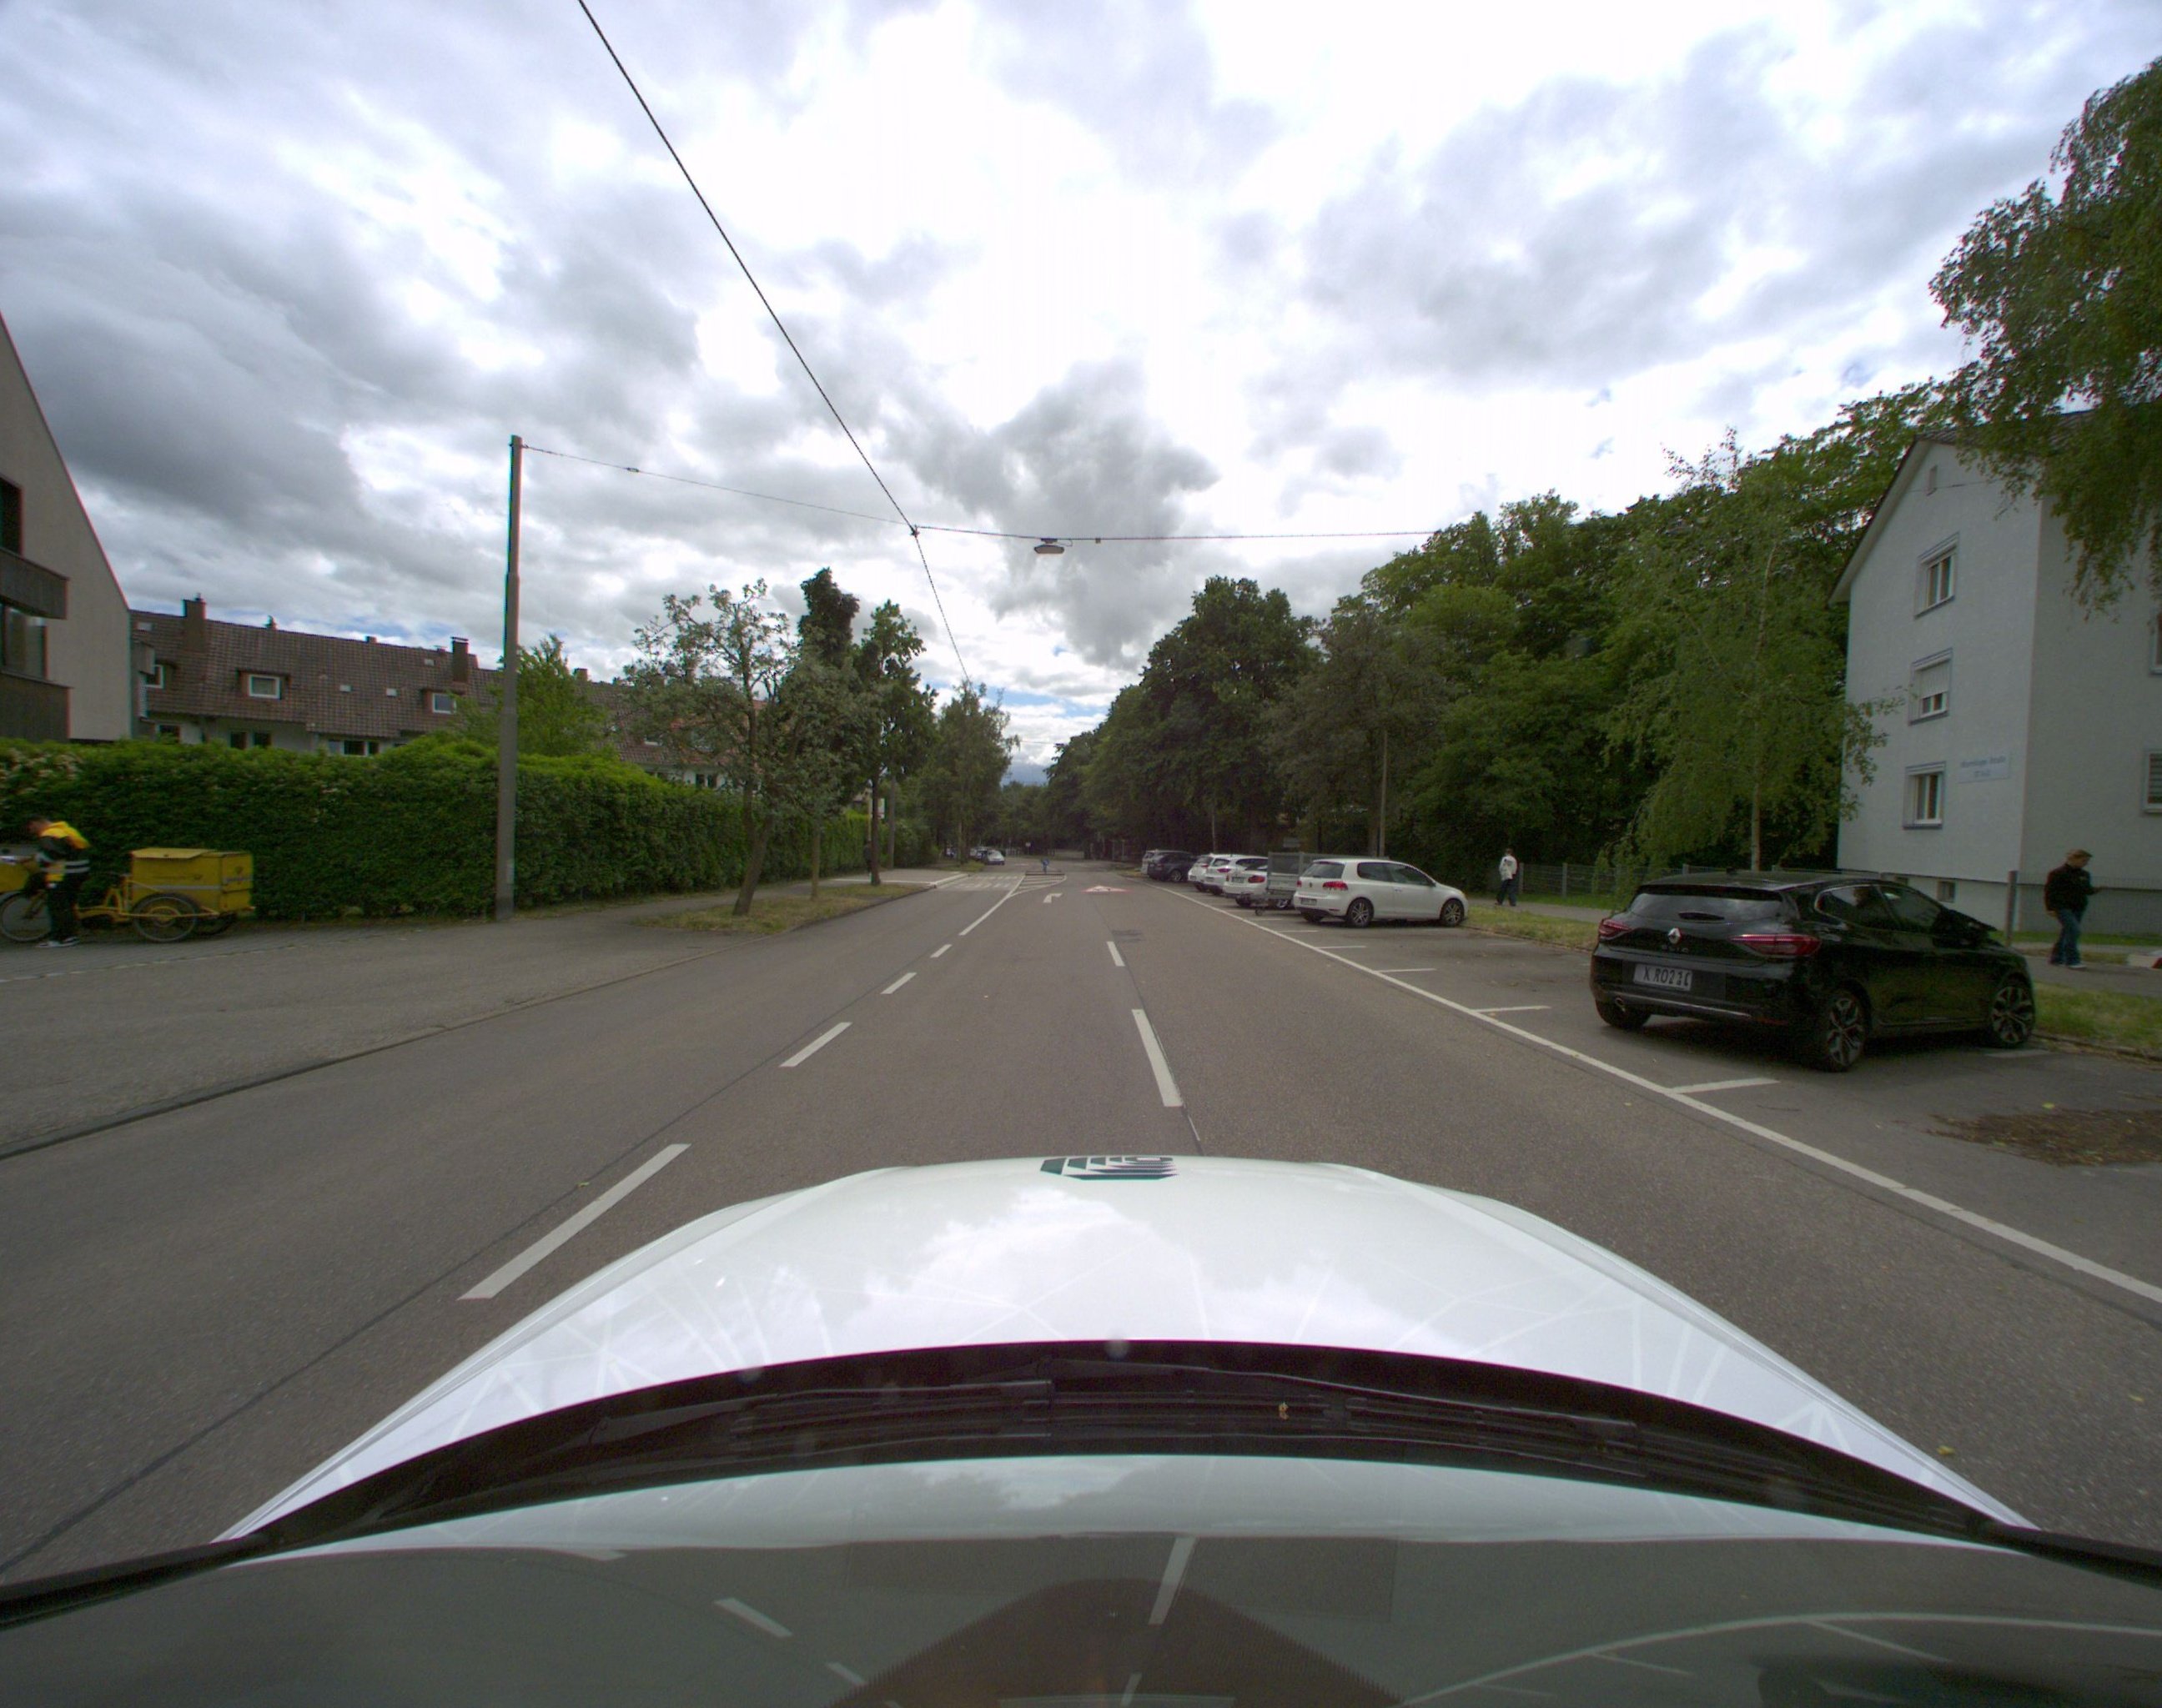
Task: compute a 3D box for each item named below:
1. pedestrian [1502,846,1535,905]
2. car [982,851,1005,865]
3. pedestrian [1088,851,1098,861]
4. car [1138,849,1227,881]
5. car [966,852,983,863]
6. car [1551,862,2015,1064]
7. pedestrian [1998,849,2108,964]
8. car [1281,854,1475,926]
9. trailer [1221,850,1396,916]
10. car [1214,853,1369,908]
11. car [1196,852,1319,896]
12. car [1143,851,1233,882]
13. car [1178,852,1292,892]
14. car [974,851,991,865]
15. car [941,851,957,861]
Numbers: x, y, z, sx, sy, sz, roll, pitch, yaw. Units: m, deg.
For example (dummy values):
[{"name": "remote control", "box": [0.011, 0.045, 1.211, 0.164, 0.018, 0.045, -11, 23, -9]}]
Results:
[{"name": "pedestrian", "box": [12.410, 0.602, 23.116, 0.686, 1.644, 0.782, 0, 0, 19]}, {"name": "car", "box": [-9.025, 0.376, 84.035, 1.738, 1.416, 4.450, -1, 0, -15]}, {"name": "pedestrian", "box": [1.495, 0.268, 99.436, 1.065, 1.182, 0.577, -1, 0, -14]}, {"name": "car", "box": [5.495, 0.586, 44.300, 4.471, 1.585, 1.899, 2, 0, -12]}, {"name": "car", "box": [-14.787, 0.474, 112.596, 1.869, 1.538, 4.206, -1, 0, -15]}, {"name": "car", "box": [6.348, 0.846, 7.364, 3.861, 1.434, 1.702, 2, -3, -24]}, {"name": "pedestrian", "box": [13.217, 0.684, 11.085, 0.694, 1.504, 0.773, 1, 0, -19]}, {"name": "car", "box": [6.698, 0.788, 18.348, 4.005, 1.464, 1.777, 2, 0, -24]}, {"name": "trailer", "box": [5.684, 0.683, 20.431, 3.997, 1.552, 1.649, 0, 0, -18]}, {"name": "car", "box": [6.005, 0.750, 23.225, 4.005, 1.464, 1.836, 2, 0, -24]}, {"name": "car", "box": [6.291, 0.721, 29.006, 4.005, 1.464, 1.782, 2, 0, -24]}, {"name": "car", "box": [5.425, 0.648, 41.481, 4.138, 1.464, 1.790, 2, 0, -14]}, {"name": "car", "box": [6.008, 0.702, 31.731, 4.005, 1.464, 1.851, 2, 0, -24]}, {"name": "car", "box": [-12.259, 0.475, 101.464, 1.736, 1.578, 4.125, -1, 0, -11]}, {"name": "car", "box": [-22.386, 0.290, 137.846, 1.811, 1.563, 4.237, -4, 1, -21]}]
